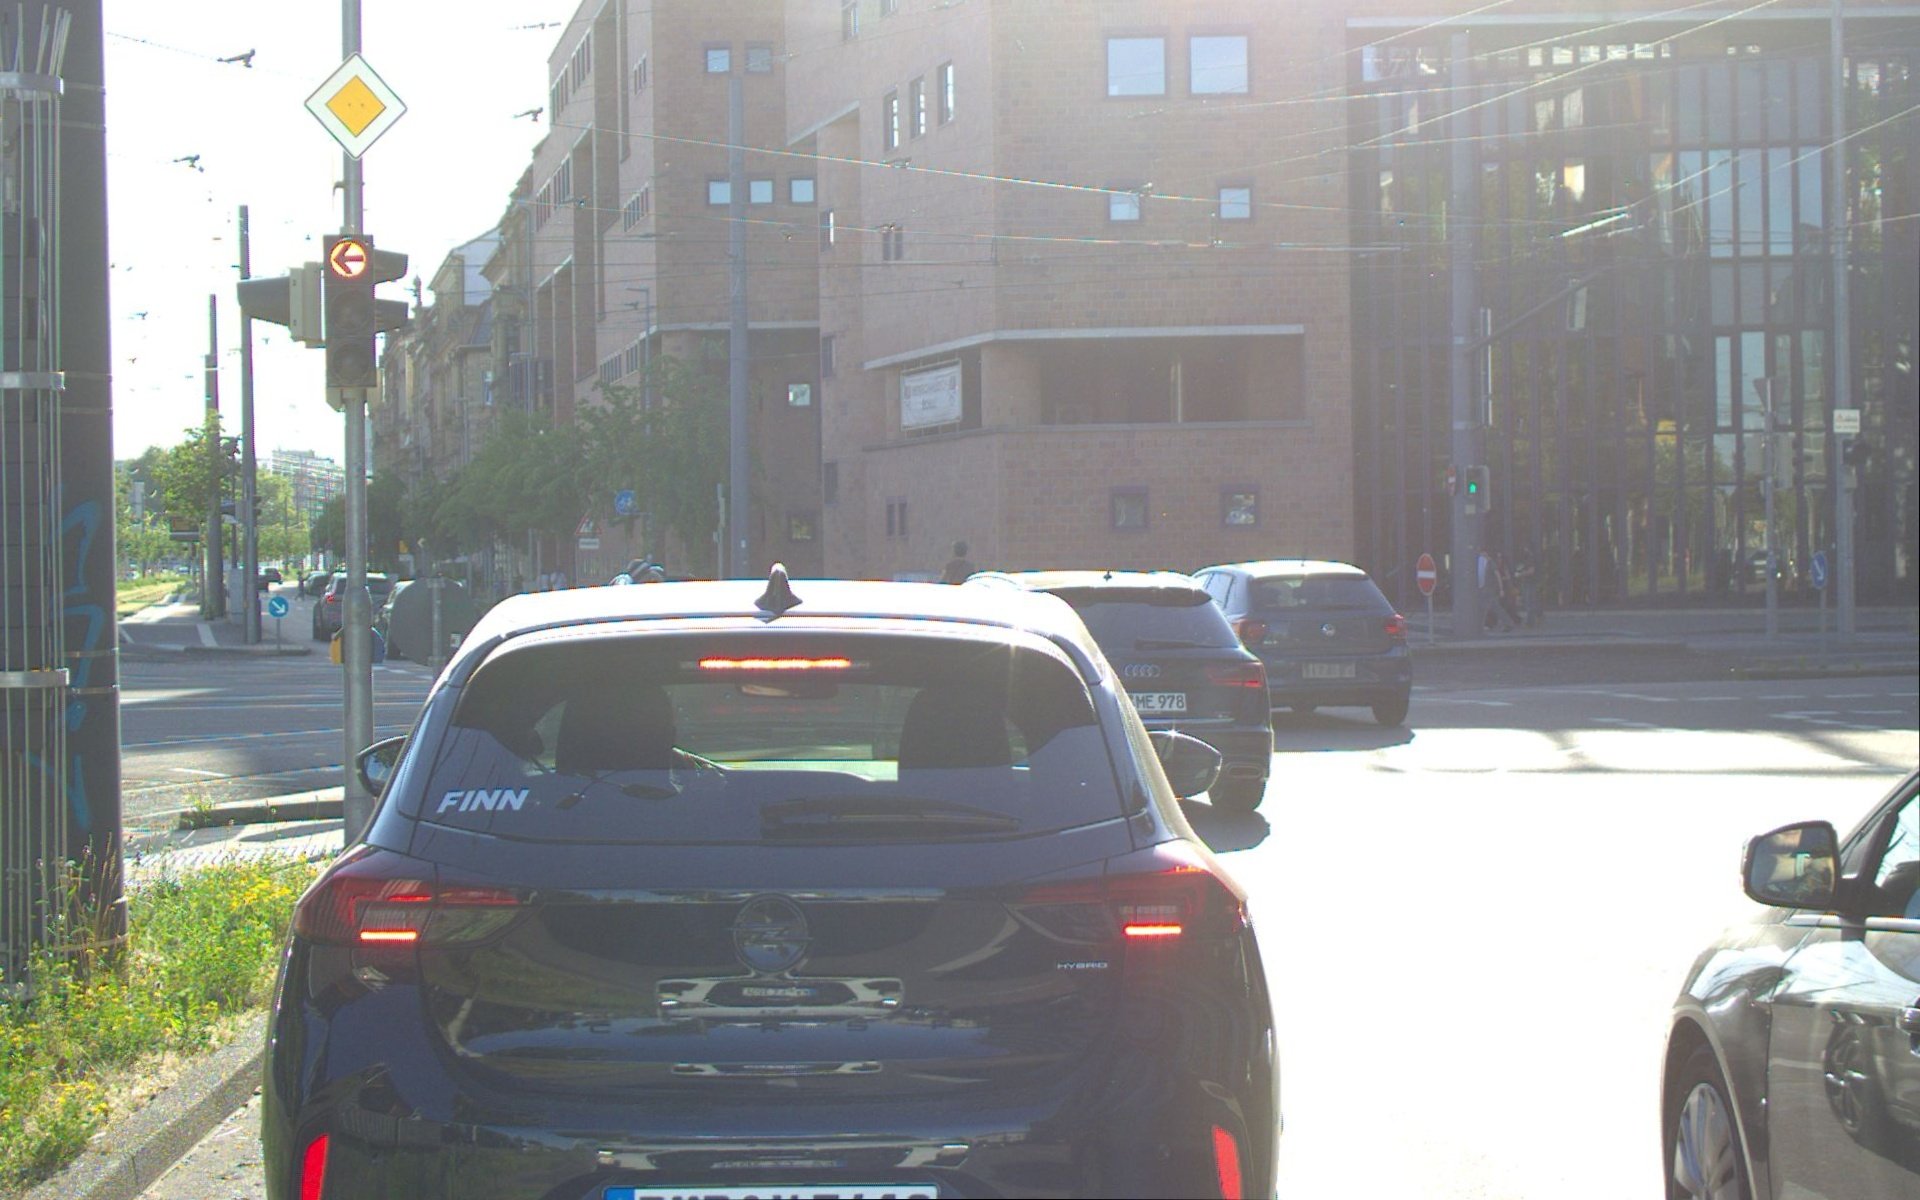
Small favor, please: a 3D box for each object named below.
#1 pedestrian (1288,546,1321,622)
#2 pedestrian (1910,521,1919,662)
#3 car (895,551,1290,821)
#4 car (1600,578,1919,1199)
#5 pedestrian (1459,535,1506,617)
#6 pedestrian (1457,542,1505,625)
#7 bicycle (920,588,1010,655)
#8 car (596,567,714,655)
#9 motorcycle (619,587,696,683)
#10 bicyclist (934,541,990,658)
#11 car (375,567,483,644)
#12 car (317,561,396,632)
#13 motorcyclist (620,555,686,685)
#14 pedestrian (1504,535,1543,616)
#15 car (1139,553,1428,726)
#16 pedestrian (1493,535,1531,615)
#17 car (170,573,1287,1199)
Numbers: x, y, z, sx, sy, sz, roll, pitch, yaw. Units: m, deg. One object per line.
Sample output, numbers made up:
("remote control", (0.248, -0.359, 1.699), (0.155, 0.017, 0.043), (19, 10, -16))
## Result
("pedestrian", (6.549, -0.306, 65.380), (0.529, 1.425, 0.598), (-1, 1, -1))
("pedestrian", (12.325, -0.112, 43.102), (0.707, 1.753, 0.560), (-1, 1, 25))
("car", (0.703, 0.450, 21.378), (1.811, 1.487, 4.497), (0, 1, -6))
("car", (2.217, 0.717, 4.734), (1.685, 1.428, 4.154), (-1, 1, -3))
("pedestrian", (10.368, -0.477, 68.186), (0.900, 1.611, 0.560), (-1, 1, 8))
("pedestrian", (10.225, -0.319, 67.527), (0.900, 1.611, 0.560), (-1, 1, 8))
("bicycle", (0.063, 0.318, 53.141), (0.491, 0.994, 2.328), (-1, 1, -23))
("car", (-5.387, 0.171, 60.262), (1.807, 1.452, 4.001), (0, 1, -9))
("motorcycle", (-3.672, 0.409, 41.649), (0.775, 1.111, 1.970), (-1, 1, -9))
("bicyclist", (0.028, -0.010, 53.077), (0.577, 1.785, 0.864), (-1, 1, -21))
("car", (-9.845, 0.084, 63.612), (1.737, 1.345, 4.001), (-1, 1, -12))
("car", (-14.579, -0.102, 82.910), (1.737, 1.645, 4.001), (-1, 1, -12))
("motorcyclist", (-3.689, 0.228, 41.254), (0.744, 1.525, 1.021), (-1, 1, -6))
("pedestrian", (11.297, -0.499, 68.945), (0.738, 1.611, 0.560), (-1, 1, 8))
("car", (2.869, 0.315, 31.329), (1.807, 1.452, 4.001), (0, 1, -7))
("pedestrian", (11.205, -0.508, 69.766), (0.738, 1.611, 0.560), (-1, 1, 8))
("car", (-0.319, 0.678, 7.105), (1.649, 1.428, 4.000), (-1, 1, 1))
